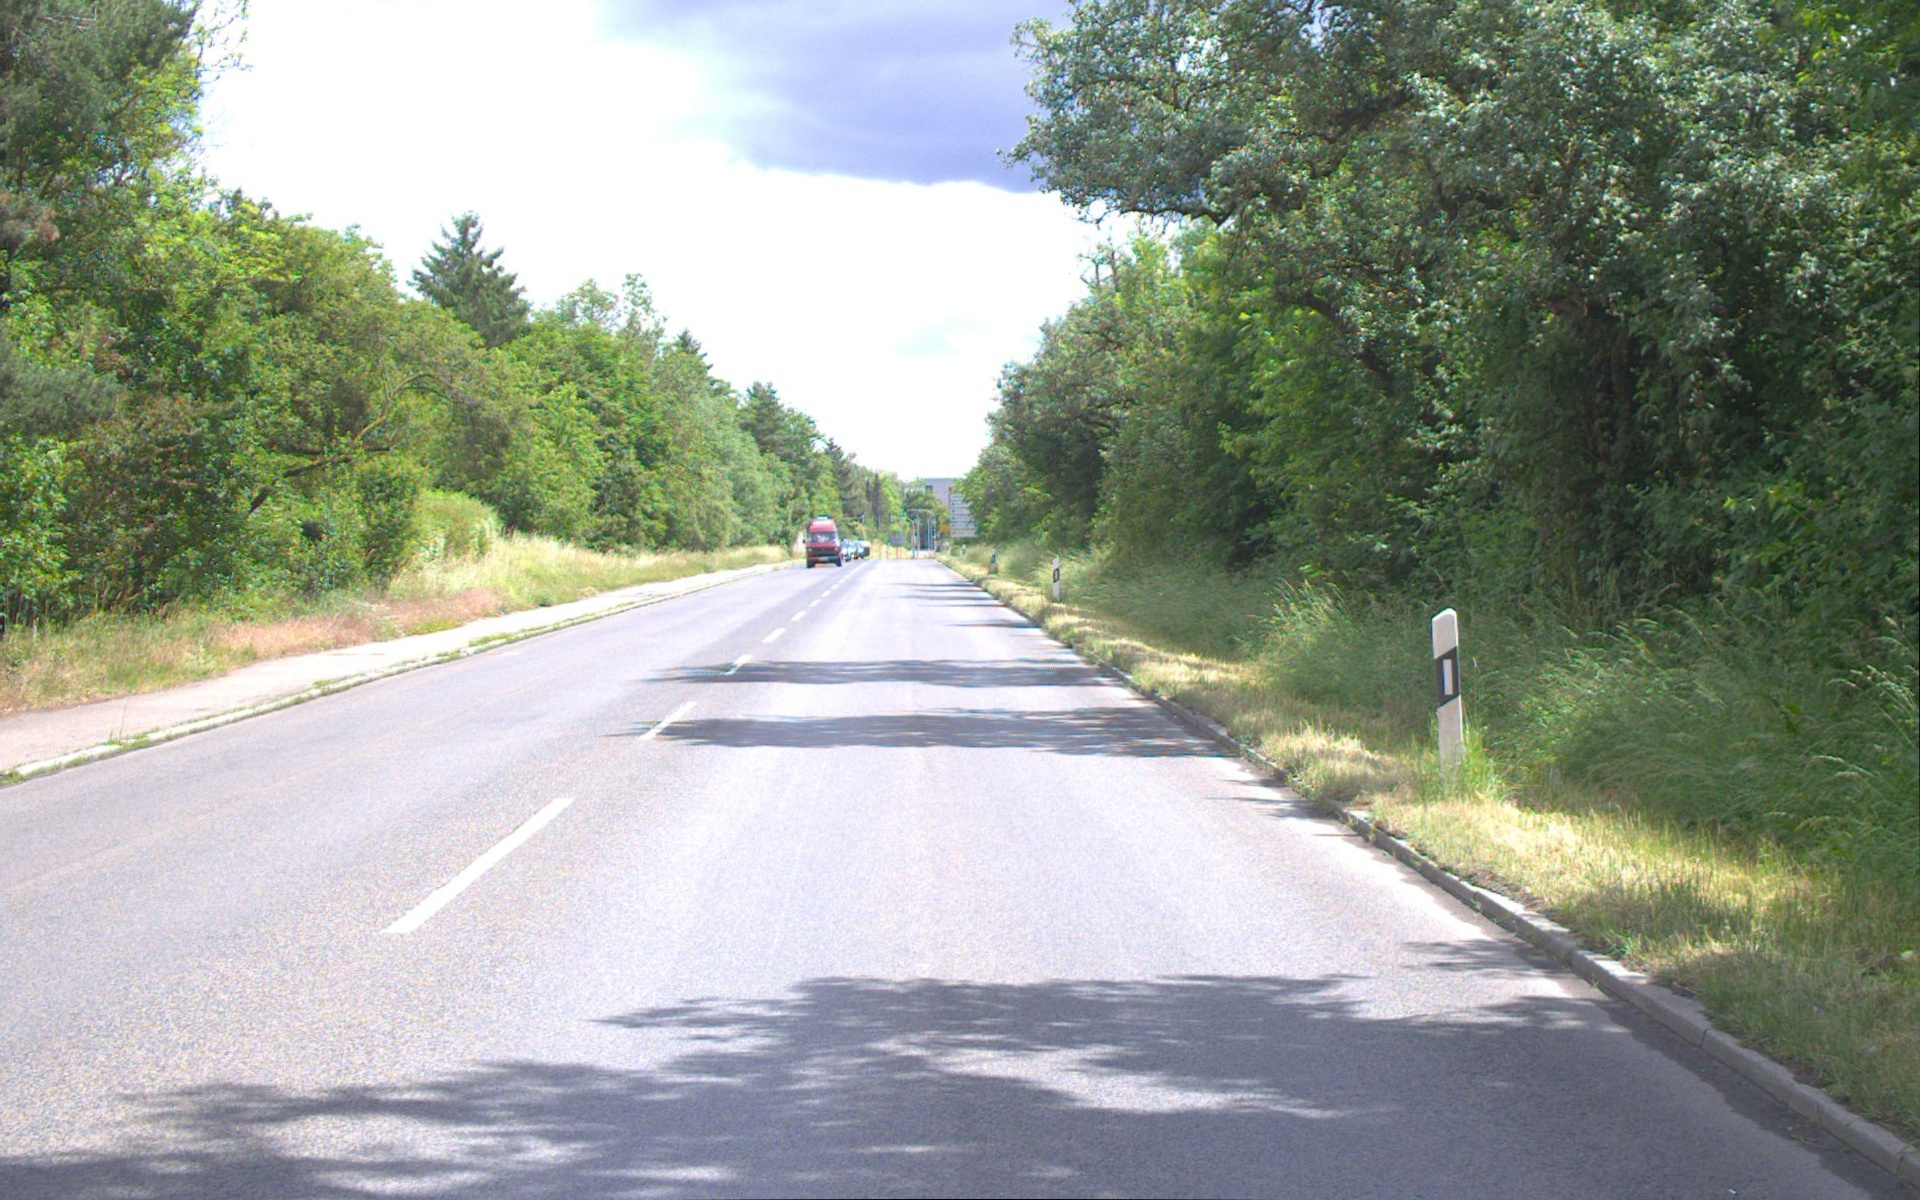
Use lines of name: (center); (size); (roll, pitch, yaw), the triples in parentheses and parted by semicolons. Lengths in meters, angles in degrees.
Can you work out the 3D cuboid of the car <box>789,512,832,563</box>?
car: (-7.764, -3.238, 178.826); (1.969, 2.541, 4.725); (-3, 1, -1)
